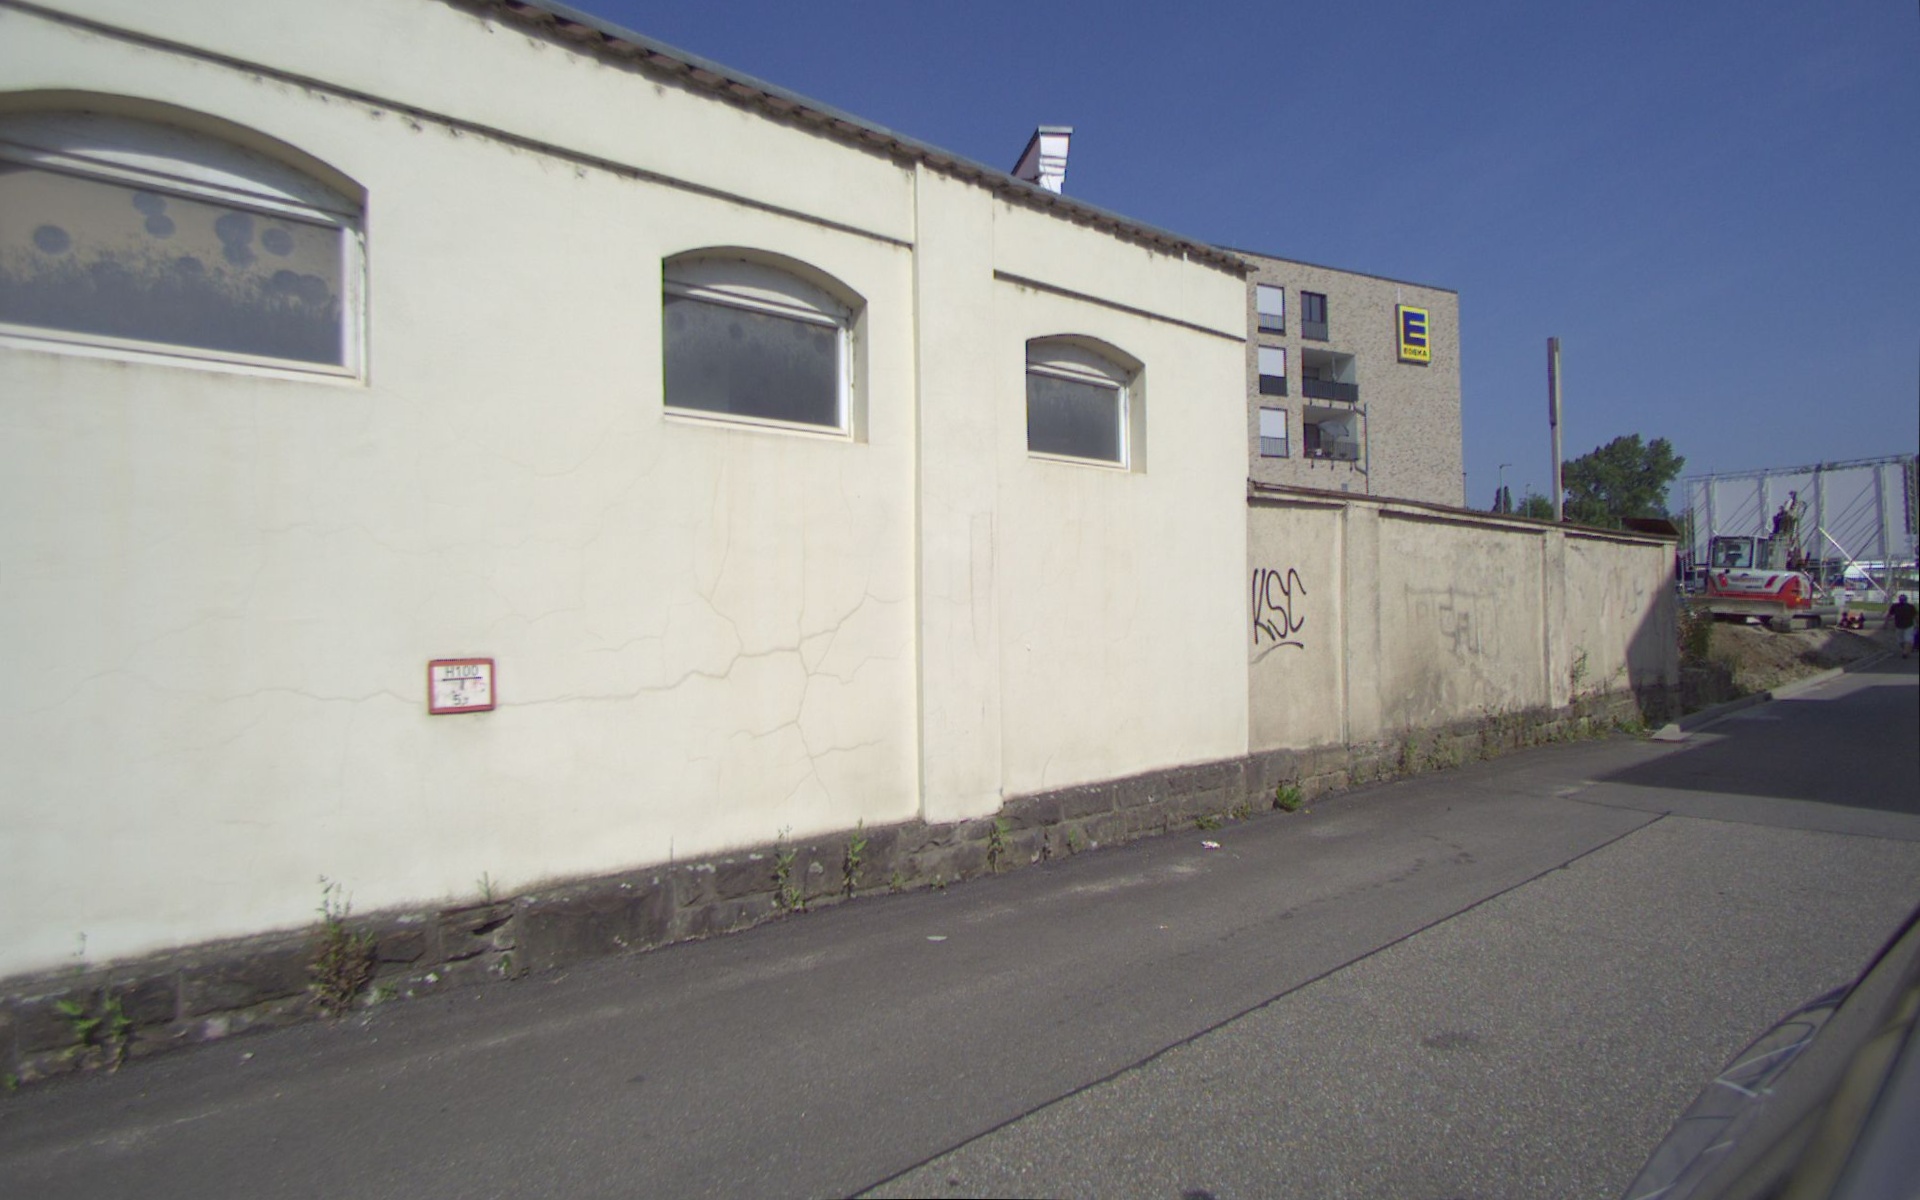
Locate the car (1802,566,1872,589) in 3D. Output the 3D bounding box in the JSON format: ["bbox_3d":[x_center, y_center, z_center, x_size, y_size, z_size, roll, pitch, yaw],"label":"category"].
[{"bbox_3d":[72.477,-1.842,83.687,1.747,1.595,4.017,1,-4,-38],"label":"car"}]

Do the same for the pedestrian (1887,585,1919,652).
[{"bbox_3d":[24.692,0.472,26.170,0.706,1.705,0.890,-1,-2,-40],"label":"pedestrian"}]

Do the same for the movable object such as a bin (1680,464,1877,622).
[{"bbox_3d":[23.395,-1.483,28.765,7.654,3.904,2.300,-1,-3,-37],"label":"movable object such as a bin"}]

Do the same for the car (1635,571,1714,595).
[{"bbox_3d":[56.550,-1.330,80.177,1.882,1.550,4.867,-1,-3,-19],"label":"car"}]
